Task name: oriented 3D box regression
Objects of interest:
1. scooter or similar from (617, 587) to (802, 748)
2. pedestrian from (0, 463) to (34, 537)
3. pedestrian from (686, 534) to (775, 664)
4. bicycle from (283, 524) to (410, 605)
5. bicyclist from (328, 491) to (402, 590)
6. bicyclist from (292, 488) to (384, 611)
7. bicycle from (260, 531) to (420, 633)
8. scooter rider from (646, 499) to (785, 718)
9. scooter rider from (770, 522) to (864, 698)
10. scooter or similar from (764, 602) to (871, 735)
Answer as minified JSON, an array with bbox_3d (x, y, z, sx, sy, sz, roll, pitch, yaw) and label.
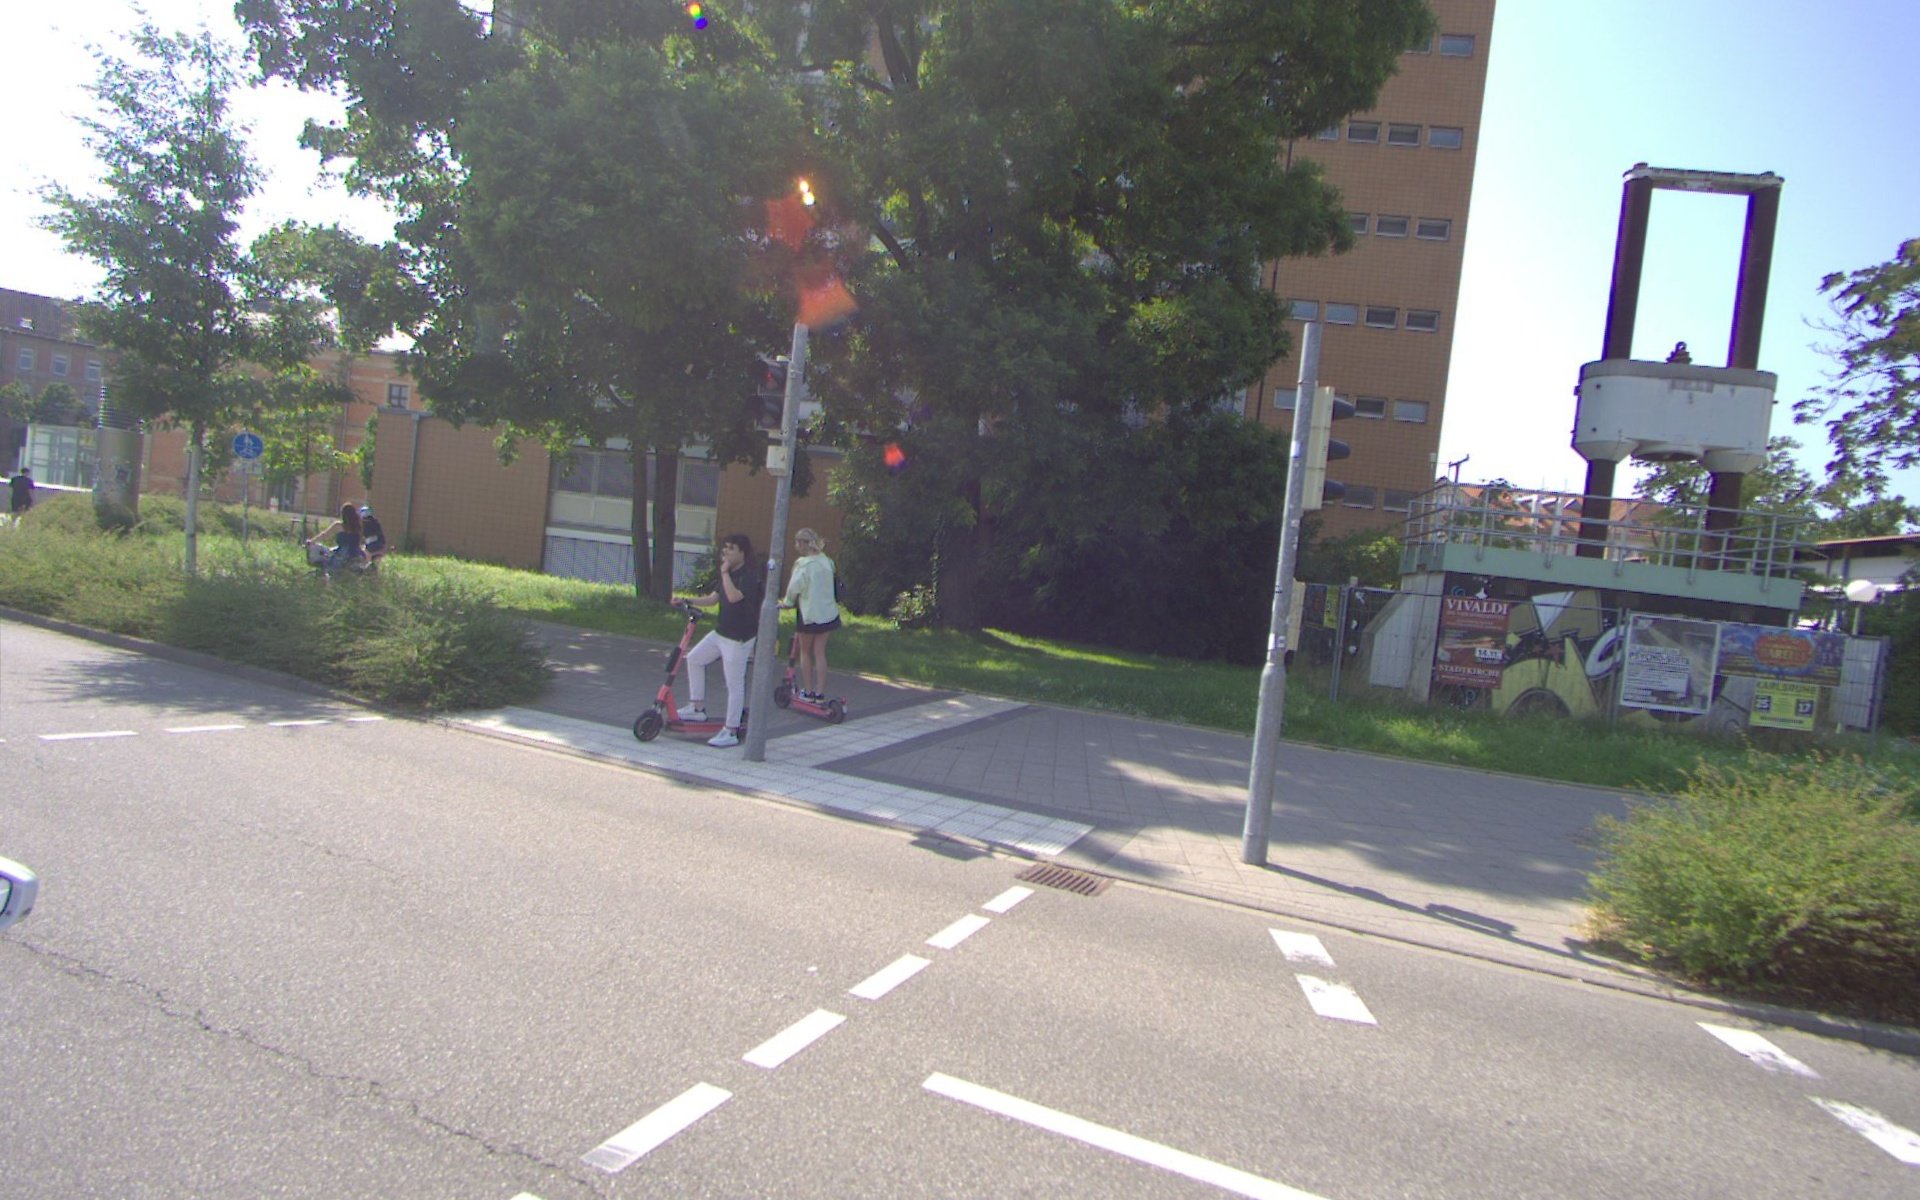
[{"bbox_3d":[-2.150,0.583,8.719,1.358,1.250,0.578,4,3,-43],"label":"scooter or similar"},{"bbox_3d":[-27.051,-2.850,28.692,0.774,1.998,0.745,5,2,-40],"label":"pedestrian"},{"bbox_3d":[-3.267,-0.014,14.344,0.863,1.728,0.706,7,3,24],"label":"pedestrian"},{"bbox_3d":[-10.225,-0.595,16.763,1.966,1.074,0.557,8,4,16],"label":"bicycle"},{"bbox_3d":[-9.837,-0.978,16.639,0.788,1.516,0.550,9,4,16],"label":"bicyclist"},{"bbox_3d":[-8.719,-0.698,14.111,0.829,1.621,0.691,7,4,25],"label":"bicyclist"},{"bbox_3d":[-8.727,-0.264,14.128,2.328,1.170,0.694,7,3,25],"label":"bicycle"},{"bbox_3d":[-2.097,0.073,8.627,0.799,1.762,0.680,4,3,-43],"label":"scooter rider"},{"bbox_3d":[-1.486,0.093,10.406,0.663,1.722,0.536,6,3,-23],"label":"scooter rider"},{"bbox_3d":[-1.517,0.661,10.384,0.550,1.075,1.991,4,4,-23],"label":"scooter or similar"}]
